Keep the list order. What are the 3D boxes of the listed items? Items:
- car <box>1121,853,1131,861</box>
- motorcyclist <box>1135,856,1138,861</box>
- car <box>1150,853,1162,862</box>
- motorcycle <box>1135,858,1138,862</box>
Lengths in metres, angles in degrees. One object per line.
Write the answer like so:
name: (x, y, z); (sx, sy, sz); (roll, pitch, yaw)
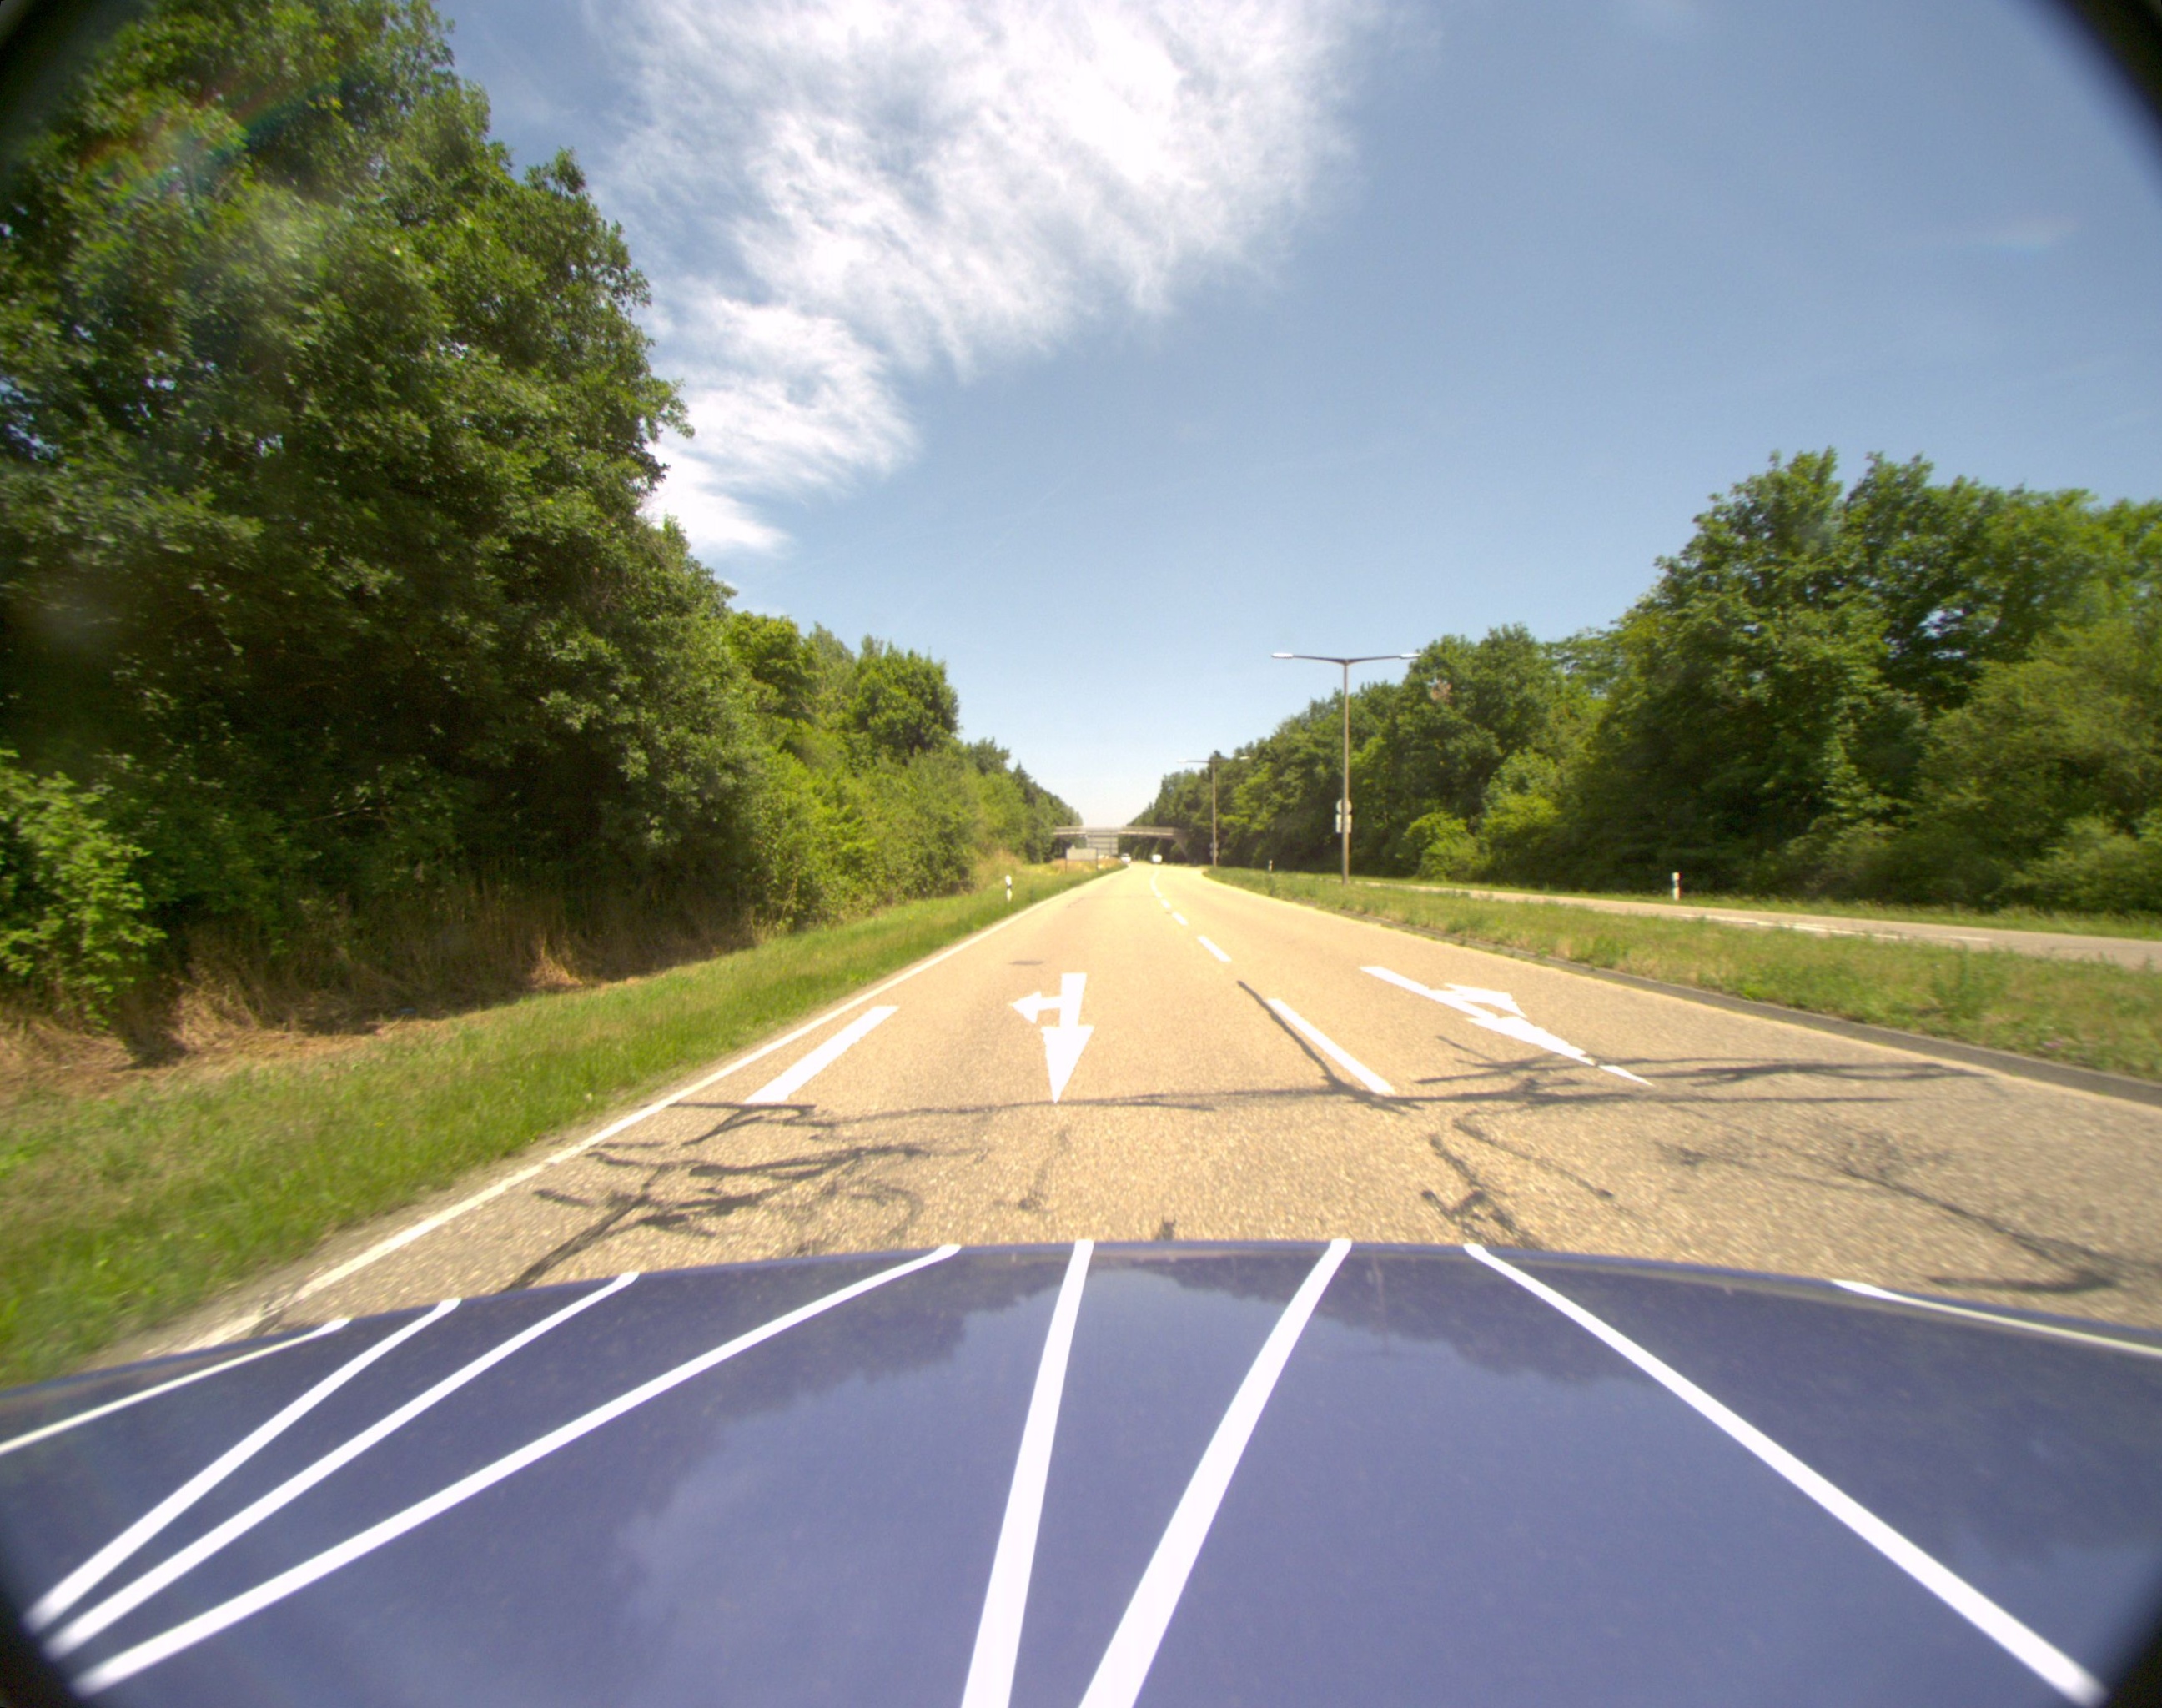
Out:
car: (9.546, 0.639, 160.215); (1.865, 1.747, 3.999); (0, 1, -1)
motorcyclist: (14.530, 1.191, 199.714); (0.672, 1.467, 0.813); (0, 1, -3)
car: (14.357, 0.670, 145.112); (1.736, 1.678, 4.094); (2, 0, 0)
motorcycle: (14.525, 1.583, 199.591); (0.672, 1.168, 2.231); (0, 1, -1)
